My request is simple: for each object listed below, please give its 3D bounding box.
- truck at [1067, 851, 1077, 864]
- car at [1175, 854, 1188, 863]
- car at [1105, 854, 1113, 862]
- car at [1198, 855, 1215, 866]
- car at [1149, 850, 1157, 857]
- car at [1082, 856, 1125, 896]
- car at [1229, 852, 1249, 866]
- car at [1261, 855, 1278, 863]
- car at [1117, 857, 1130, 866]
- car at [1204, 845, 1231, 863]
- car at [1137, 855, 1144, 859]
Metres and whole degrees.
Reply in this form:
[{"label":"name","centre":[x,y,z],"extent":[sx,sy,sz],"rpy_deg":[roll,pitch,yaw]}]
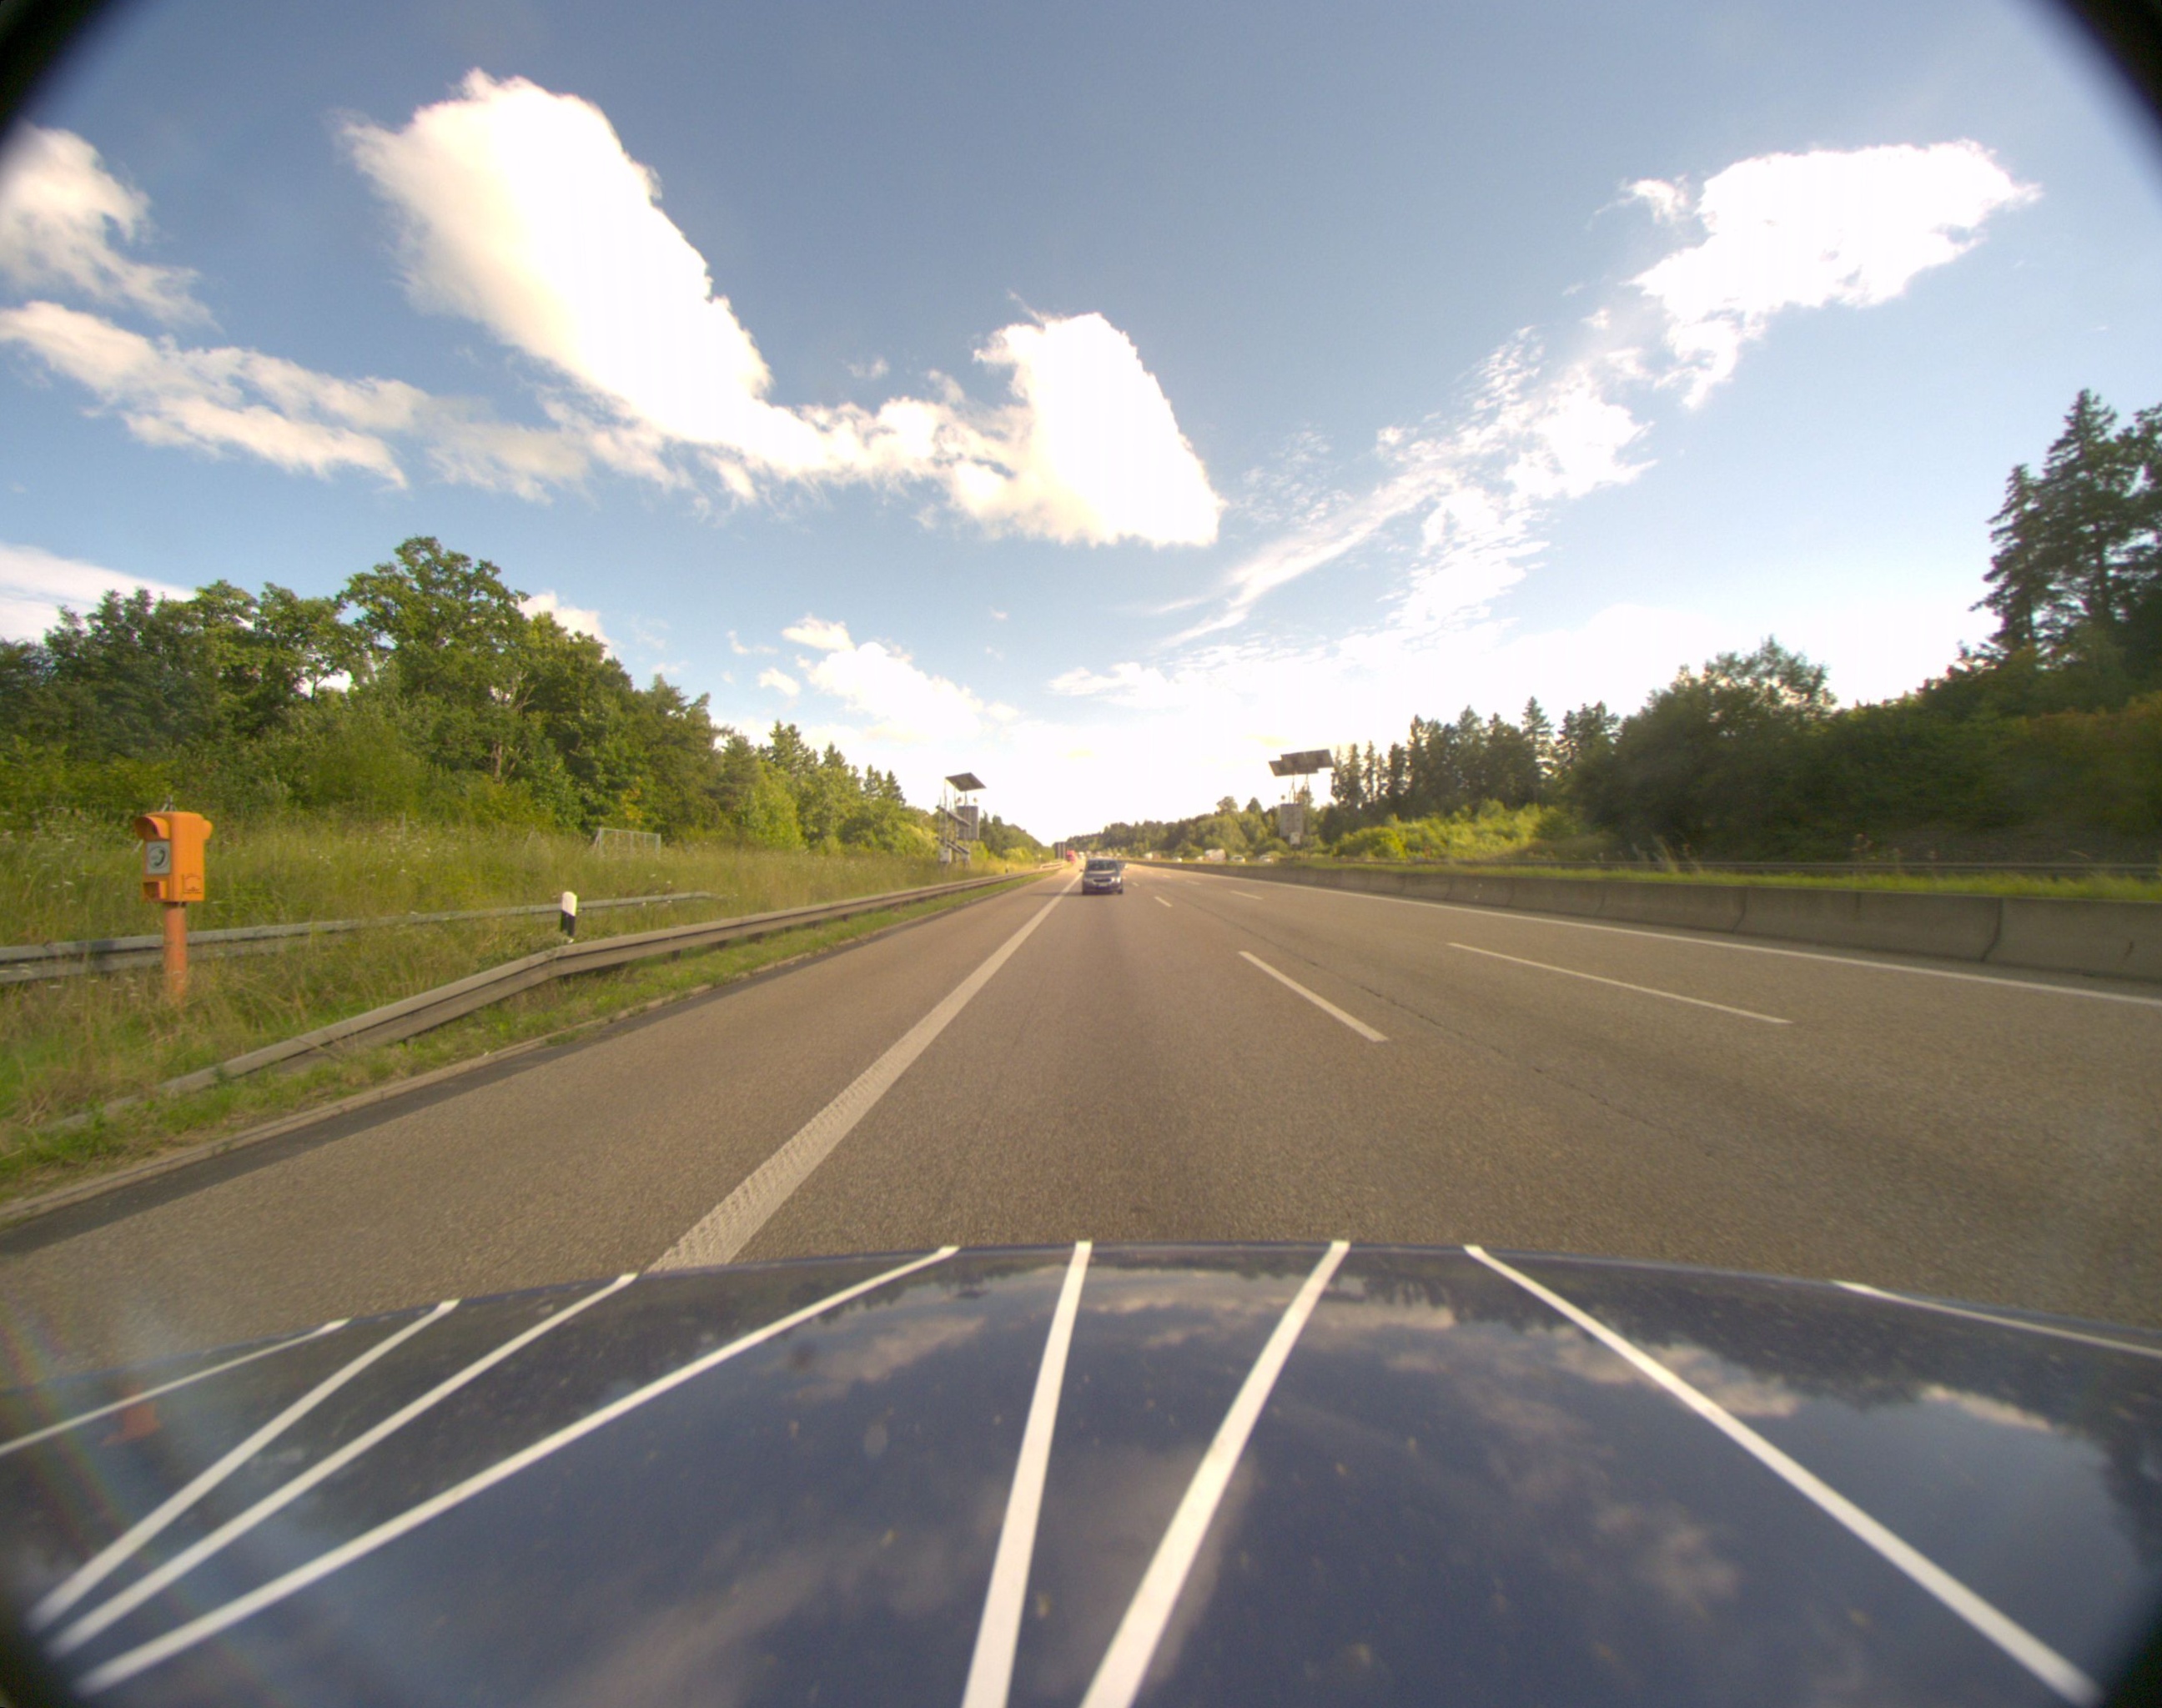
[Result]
[{"label":"truck","centre":[-2.901,0.971,241.345],"extent":[2.880,3.871,8.959],"rpy_deg":[-2,0,1]},{"label":"car","centre":[23.756,0.995,179.727],"extent":[2.585,2.126,5.966],"rpy_deg":[-2,0,2]},{"label":"car","centre":[7.309,0.964,199.636],"extent":[1.998,2.002,4.000],"rpy_deg":[-2,0,1]},{"label":"car","centre":[26.080,1.307,158.290],"extent":[2.585,2.126,5.966],"rpy_deg":[-2,0,2]},{"label":"car","centre":[23.998,-0.285,252.402],"extent":[2.114,2.299,6.725],"rpy_deg":[-2,0,1]},{"label":"car","centre":[0.999,0.915,33.690],"extent":[1.741,1.608,4.083],"rpy_deg":[-2,0,2]},{"label":"car","centre":[22.045,0.686,105.835],"extent":[1.929,1.795,4.493],"rpy_deg":[-2,0,2]},{"label":"car","centre":[25.961,0.682,104.750],"extent":[1.595,1.087,3.173],"rpy_deg":[-2,0,2]},{"label":"car","centre":[5.973,1.038,108.031],"extent":[1.748,1.276,4.199],"rpy_deg":[-2,0,2]},{"label":"car","centre":[18.210,-0.023,101.512],"extent":[2.585,2.332,5.829],"rpy_deg":[-2,0,2]},{"label":"car","centre":[20.256,0.989,259.489],"extent":[1.998,1.444,4.000],"rpy_deg":[-2,0,2]}]
